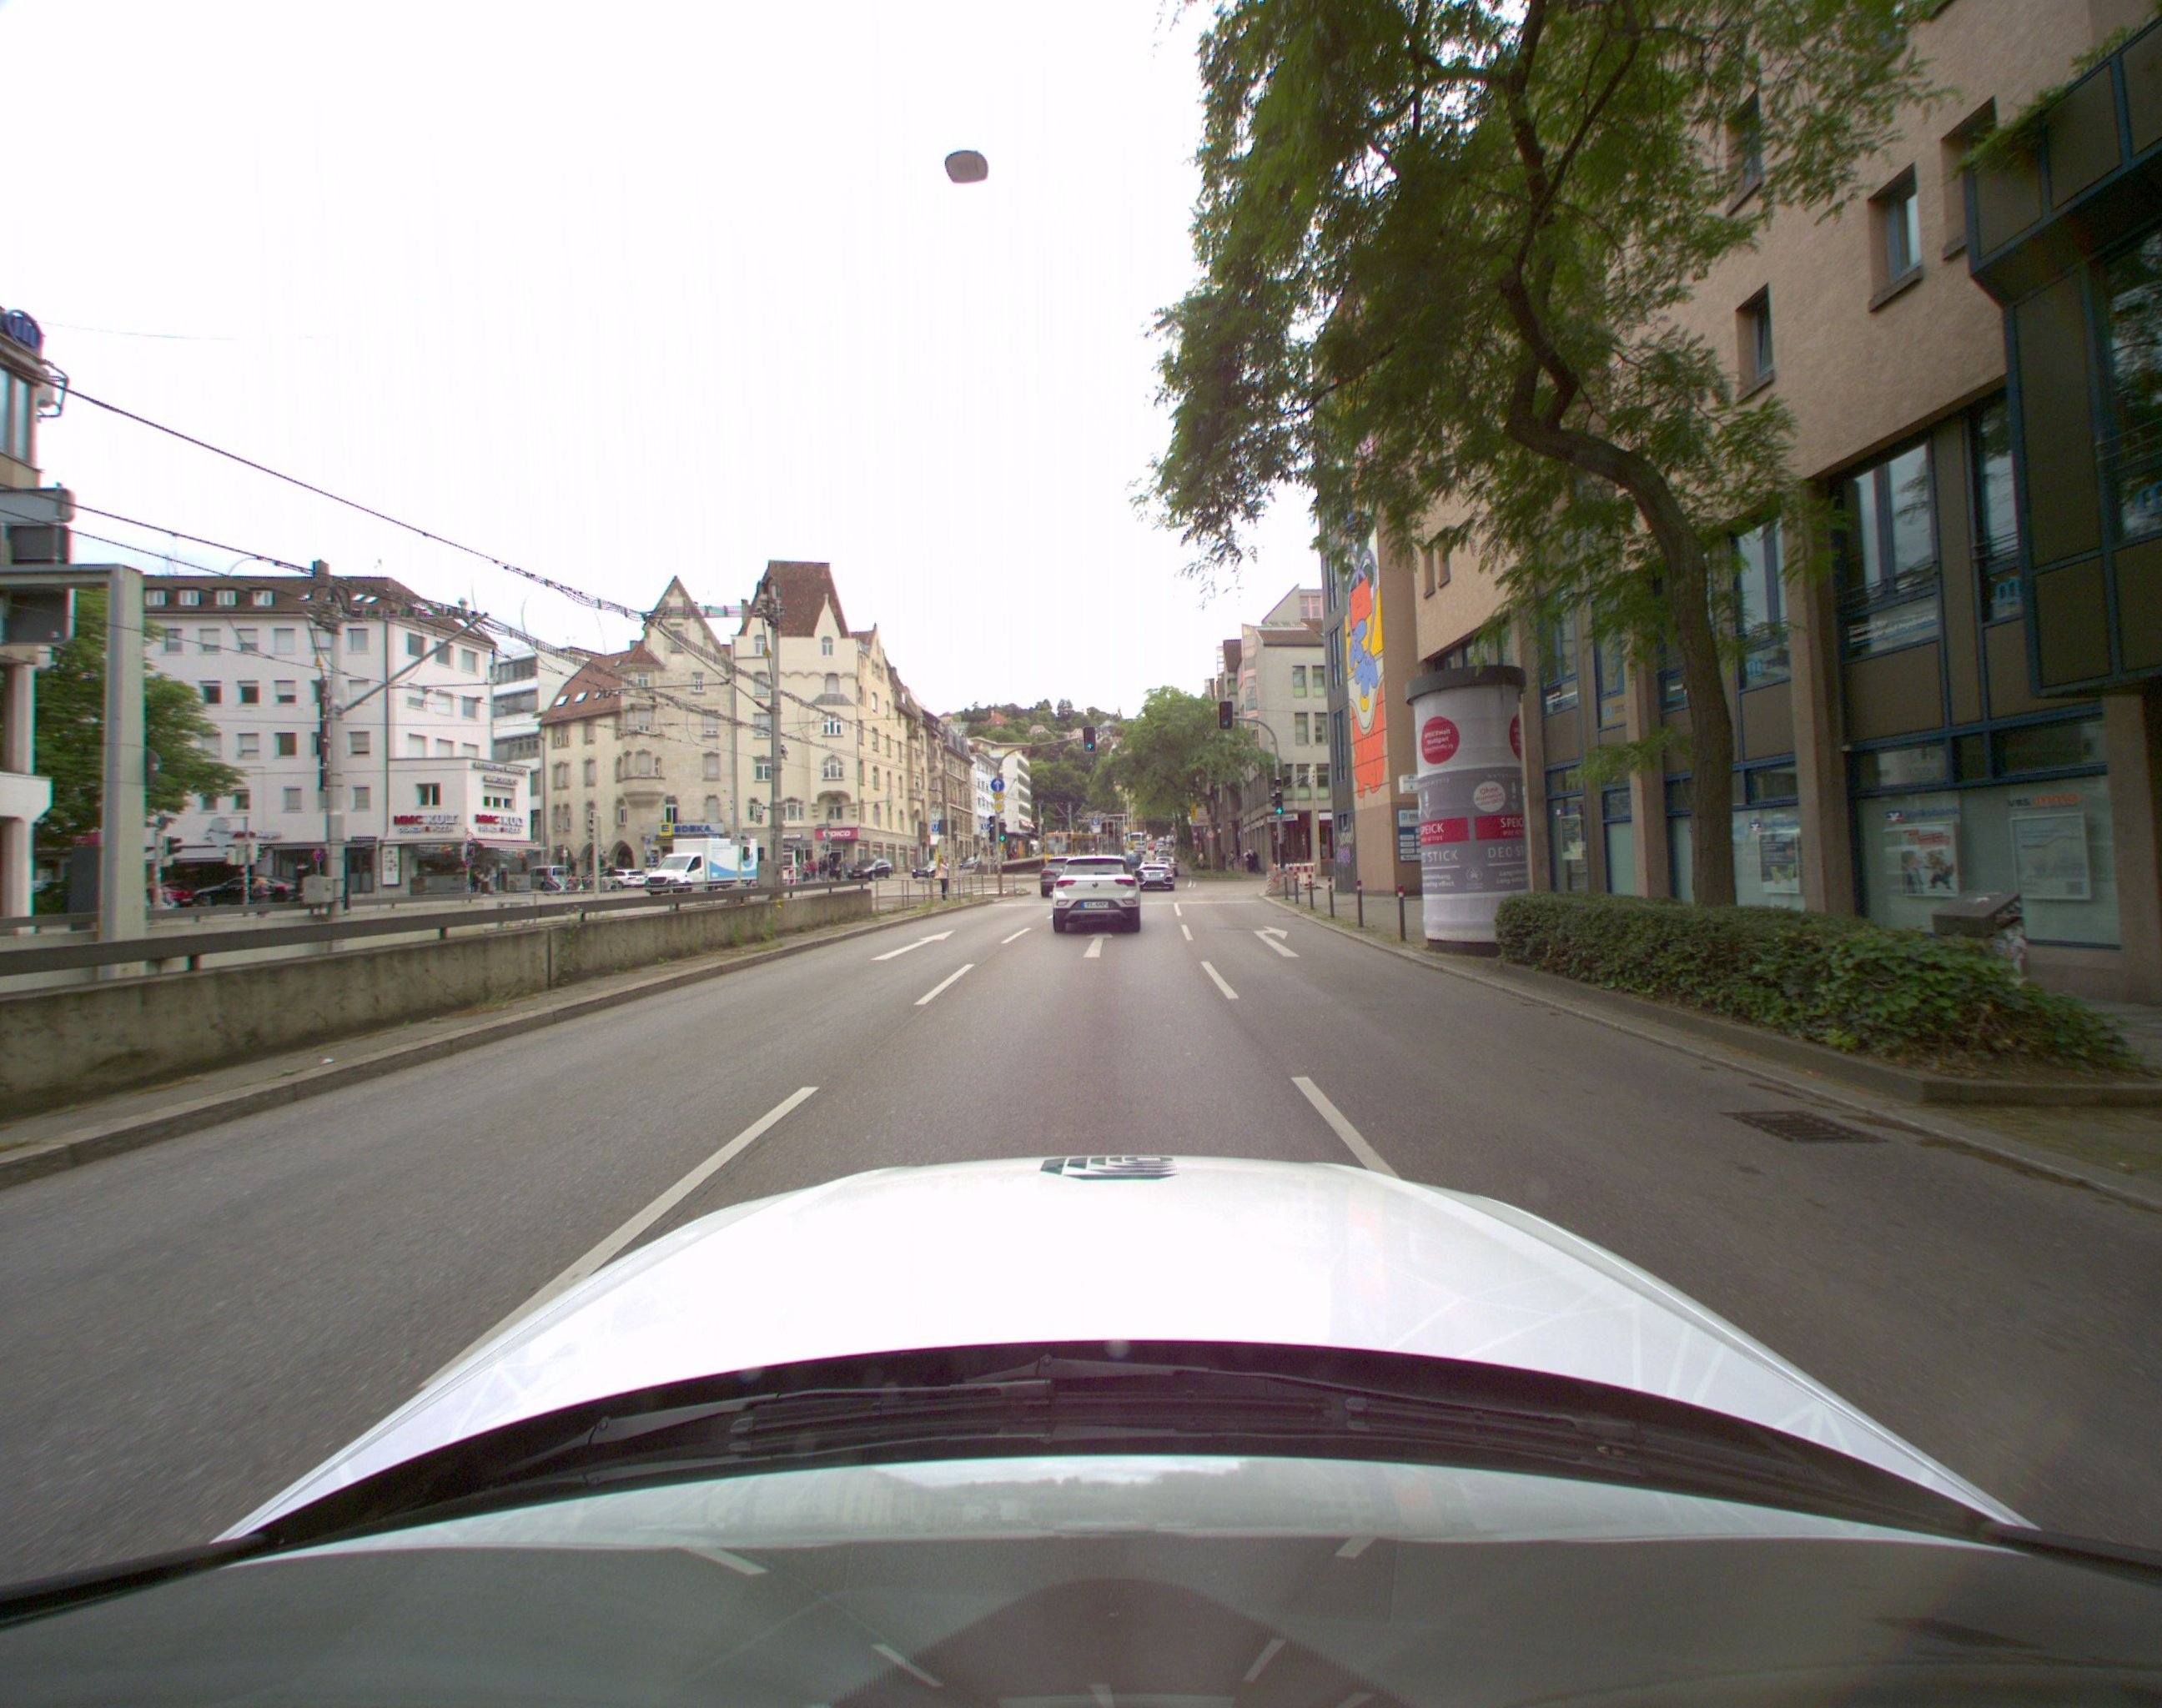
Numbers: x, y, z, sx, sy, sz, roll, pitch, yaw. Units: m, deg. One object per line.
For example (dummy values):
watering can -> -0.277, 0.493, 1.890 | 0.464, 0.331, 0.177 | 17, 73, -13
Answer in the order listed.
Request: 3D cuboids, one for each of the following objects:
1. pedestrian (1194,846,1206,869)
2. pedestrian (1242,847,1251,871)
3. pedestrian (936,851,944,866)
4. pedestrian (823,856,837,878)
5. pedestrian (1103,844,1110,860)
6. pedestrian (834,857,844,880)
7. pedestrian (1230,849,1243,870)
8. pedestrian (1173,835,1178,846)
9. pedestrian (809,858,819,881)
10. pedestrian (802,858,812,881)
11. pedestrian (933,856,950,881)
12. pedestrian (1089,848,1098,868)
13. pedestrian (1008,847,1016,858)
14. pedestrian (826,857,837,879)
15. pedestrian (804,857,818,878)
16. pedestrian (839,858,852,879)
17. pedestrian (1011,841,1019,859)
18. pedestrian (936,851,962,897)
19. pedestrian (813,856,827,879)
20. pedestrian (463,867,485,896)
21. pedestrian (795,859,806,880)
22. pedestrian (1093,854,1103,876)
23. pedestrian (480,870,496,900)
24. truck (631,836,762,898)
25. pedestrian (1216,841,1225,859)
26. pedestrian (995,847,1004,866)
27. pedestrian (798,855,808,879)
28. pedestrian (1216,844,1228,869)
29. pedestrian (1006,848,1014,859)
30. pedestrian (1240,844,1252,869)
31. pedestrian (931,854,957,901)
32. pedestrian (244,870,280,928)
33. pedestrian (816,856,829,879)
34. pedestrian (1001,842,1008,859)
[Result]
pedestrian -> 9.413, 0.287, 64.239 | 0.690, 1.777, 0.690 | -6, 0, 1
pedestrian -> 12.405, 0.365, 61.069 | 0.516, 1.789, 0.764 | -1, -1, 1
pedestrian -> -16.424, 0.509, 94.994 | 0.632, 1.762, 0.837 | -1, 0, -37
pedestrian -> -20.077, 1.058, 65.199 | 0.777, 1.705, 0.725 | -1, 0, 11
pedestrian -> 2.806, -0.189, 88.985 | 0.714, 1.731, 0.672 | -1, -1, 6
pedestrian -> -19.056, 1.152, 64.085 | 0.505, 1.780, 0.580 | -2, 0, 19
pedestrian -> 11.695, 0.397, 61.285 | 0.832, 1.563, 0.764 | -1, 0, 1
pedestrian -> 17.434, -2.401, 150.080 | 0.757, 2.014, 0.841 | -1, -1, 10
pedestrian -> -21.188, 1.209, 64.546 | 0.507, 1.780, 0.578 | -1, 0, 7
pedestrian -> -21.491, 1.188, 63.936 | 0.506, 1.780, 0.579 | -1, 0, 12
pedestrian -> -9.877, 1.008, 57.656 | 0.866, 1.705, 0.817 | -2, 0, 34
pedestrian -> 1.023, 0.326, 68.213 | 0.682, 1.711, 0.713 | -1, 1, 5
pedestrian -> -7.187, -0.118, 84.540 | 0.632, 1.107, 0.691 | -1, 1, 5
pedestrian -> -19.994, 1.127, 65.210 | 0.505, 1.780, 0.580 | -2, 0, 36
pedestrian -> -21.852, 1.094, 65.968 | 0.777, 1.705, 0.655 | -1, 0, 11
pedestrian -> -19.035, 1.191, 65.802 | 0.667, 1.677, 0.695 | -2, 0, 23
pedestrian -> -6.546, -0.416, 80.917 | 0.623, 1.762, 0.848 | -2, 0, 6
pedestrian -> -5.068, 0.763, 31.343 | 0.788, 1.721, 0.773 | -1, 0, 5
pedestrian -> -20.940, 1.074, 65.275 | 0.780, 1.780, 0.672 | -2, 0, 36
pedestrian -> -36.315, 1.646, 48.752 | 0.777, 1.705, 0.655 | -1, 0, 11
pedestrian -> -21.501, 1.154, 62.389 | 0.572, 1.582, 0.512 | -1, 0, 5
pedestrian -> 1.339, 0.862, 63.707 | 0.632, 1.711, 0.873 | -1, 1, 5
pedestrian -> -35.936, 1.852, 49.359 | 0.506, 1.780, 0.579 | -2, 0, 17
truck -> -20.509, 0.646, 44.016 | 2.250, 3.076, 7.401 | -1, 0, 13
pedestrian -> 14.994, -0.434, 87.578 | 0.759, 1.782, 0.848 | -3, 2, 0
pedestrian -> -7.623, 0.224, 75.980 | 0.685, 1.711, 0.663 | -1, 1, 4
pedestrian -> -21.412, 1.008, 62.729 | 0.571, 1.780, 0.513 | -1, 0, 10
pedestrian -> 10.894, 0.185, 62.853 | 0.718, 1.802, 0.835 | -4, 2, 1
pedestrian -> -7.233, -0.077, 82.974 | 0.632, 1.107, 0.691 | -1, 1, 5
pedestrian -> 12.560, 0.177, 61.852 | 0.731, 1.874, 0.733 | -1, -1, 1
pedestrian -> -5.138, 0.875, 30.570 | 0.761, 1.721, 0.638 | -1, 0, 5
pedestrian -> -25.689, 1.390, 25.551 | 0.507, 1.780, 0.578 | -1, 0, 7
pedestrian -> -20.086, 1.078, 63.373 | 0.703, 1.780, 0.599 | -2, 0, 21
pedestrian -> -7.495, -0.332, 79.990 | 0.634, 1.711, 0.689 | -2, 1, -4
